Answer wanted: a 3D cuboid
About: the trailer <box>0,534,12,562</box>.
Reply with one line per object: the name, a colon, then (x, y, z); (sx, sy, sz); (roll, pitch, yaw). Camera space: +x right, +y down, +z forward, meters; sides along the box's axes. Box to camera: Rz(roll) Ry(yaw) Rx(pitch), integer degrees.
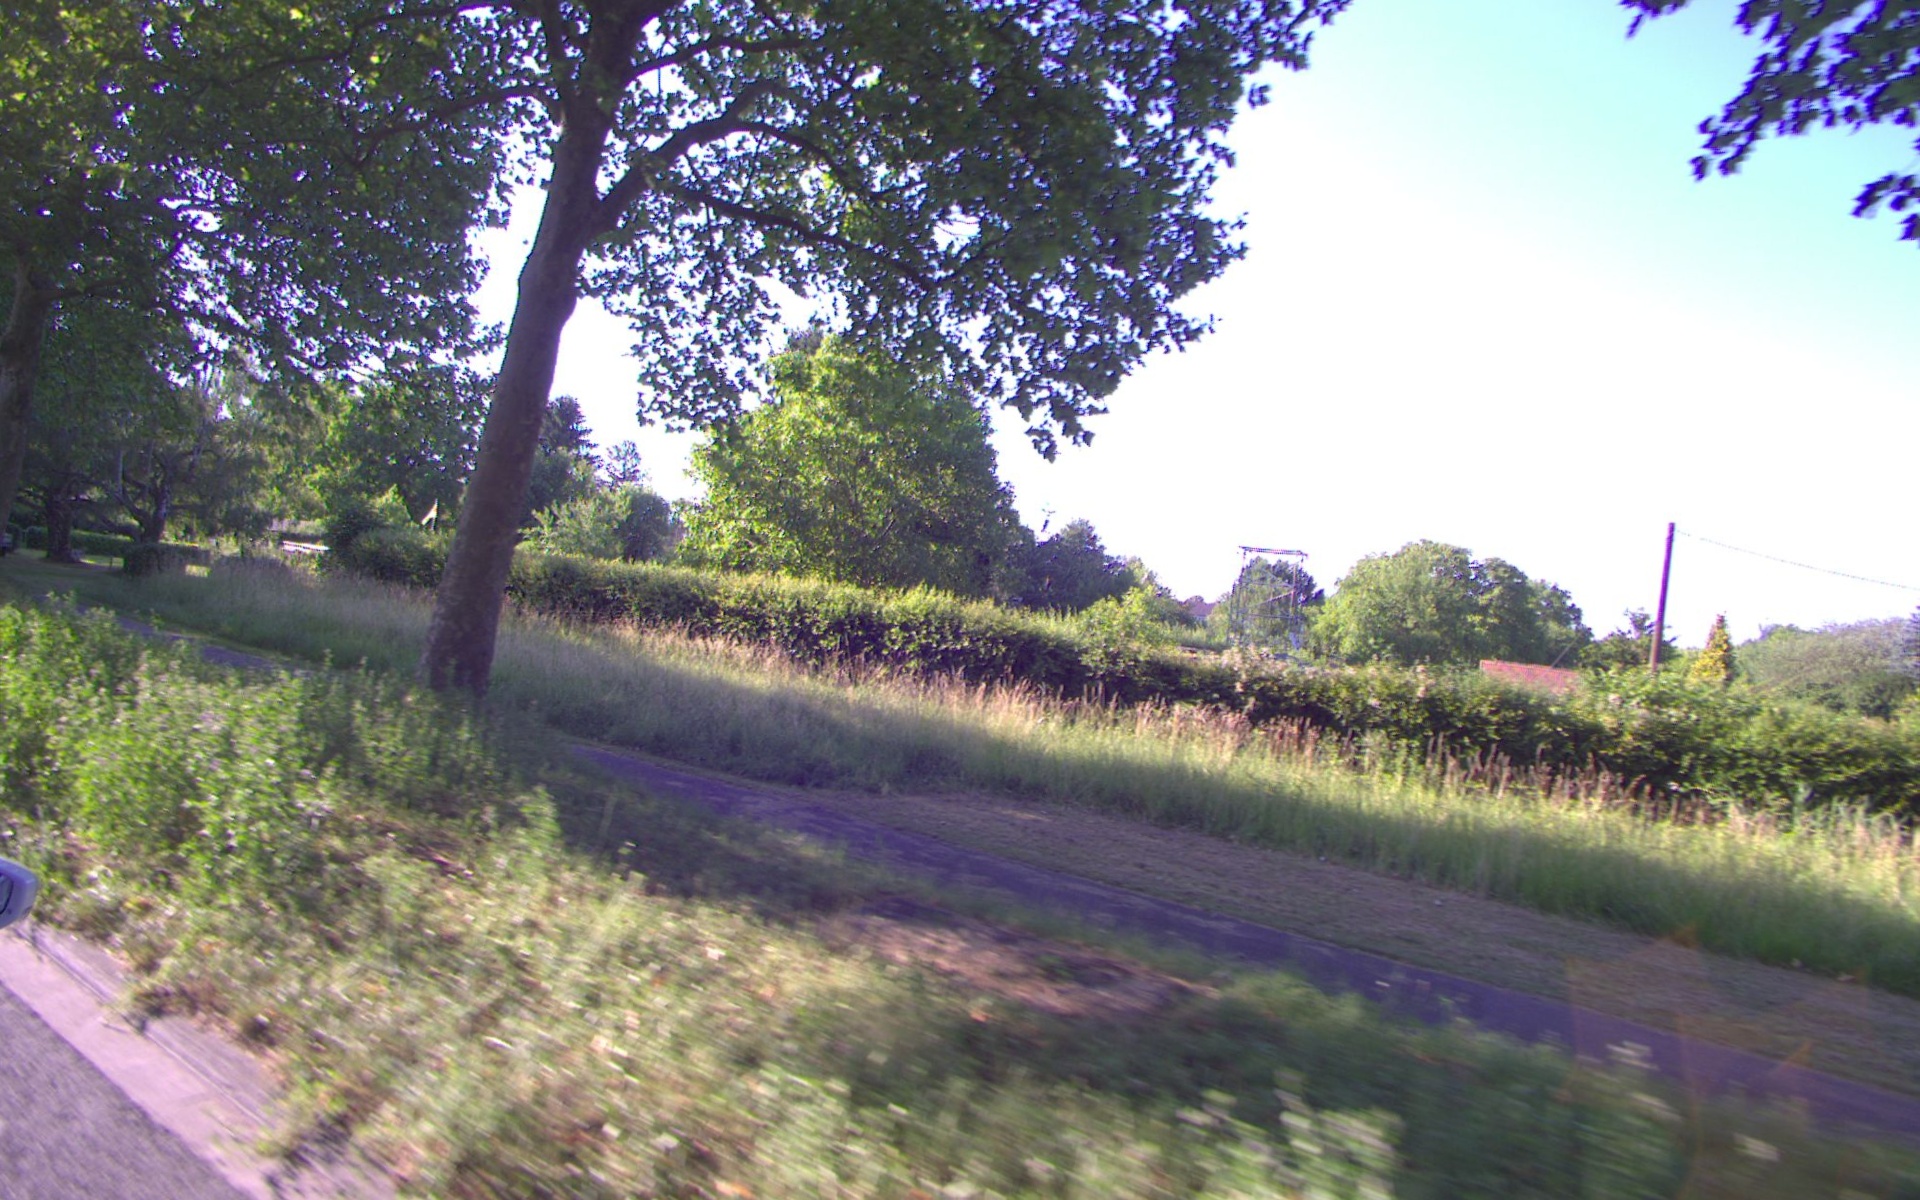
trailer: (-40.072, -2.256, 40.834); (1.183, 1.064, 2.118); (6, -3, 38)
